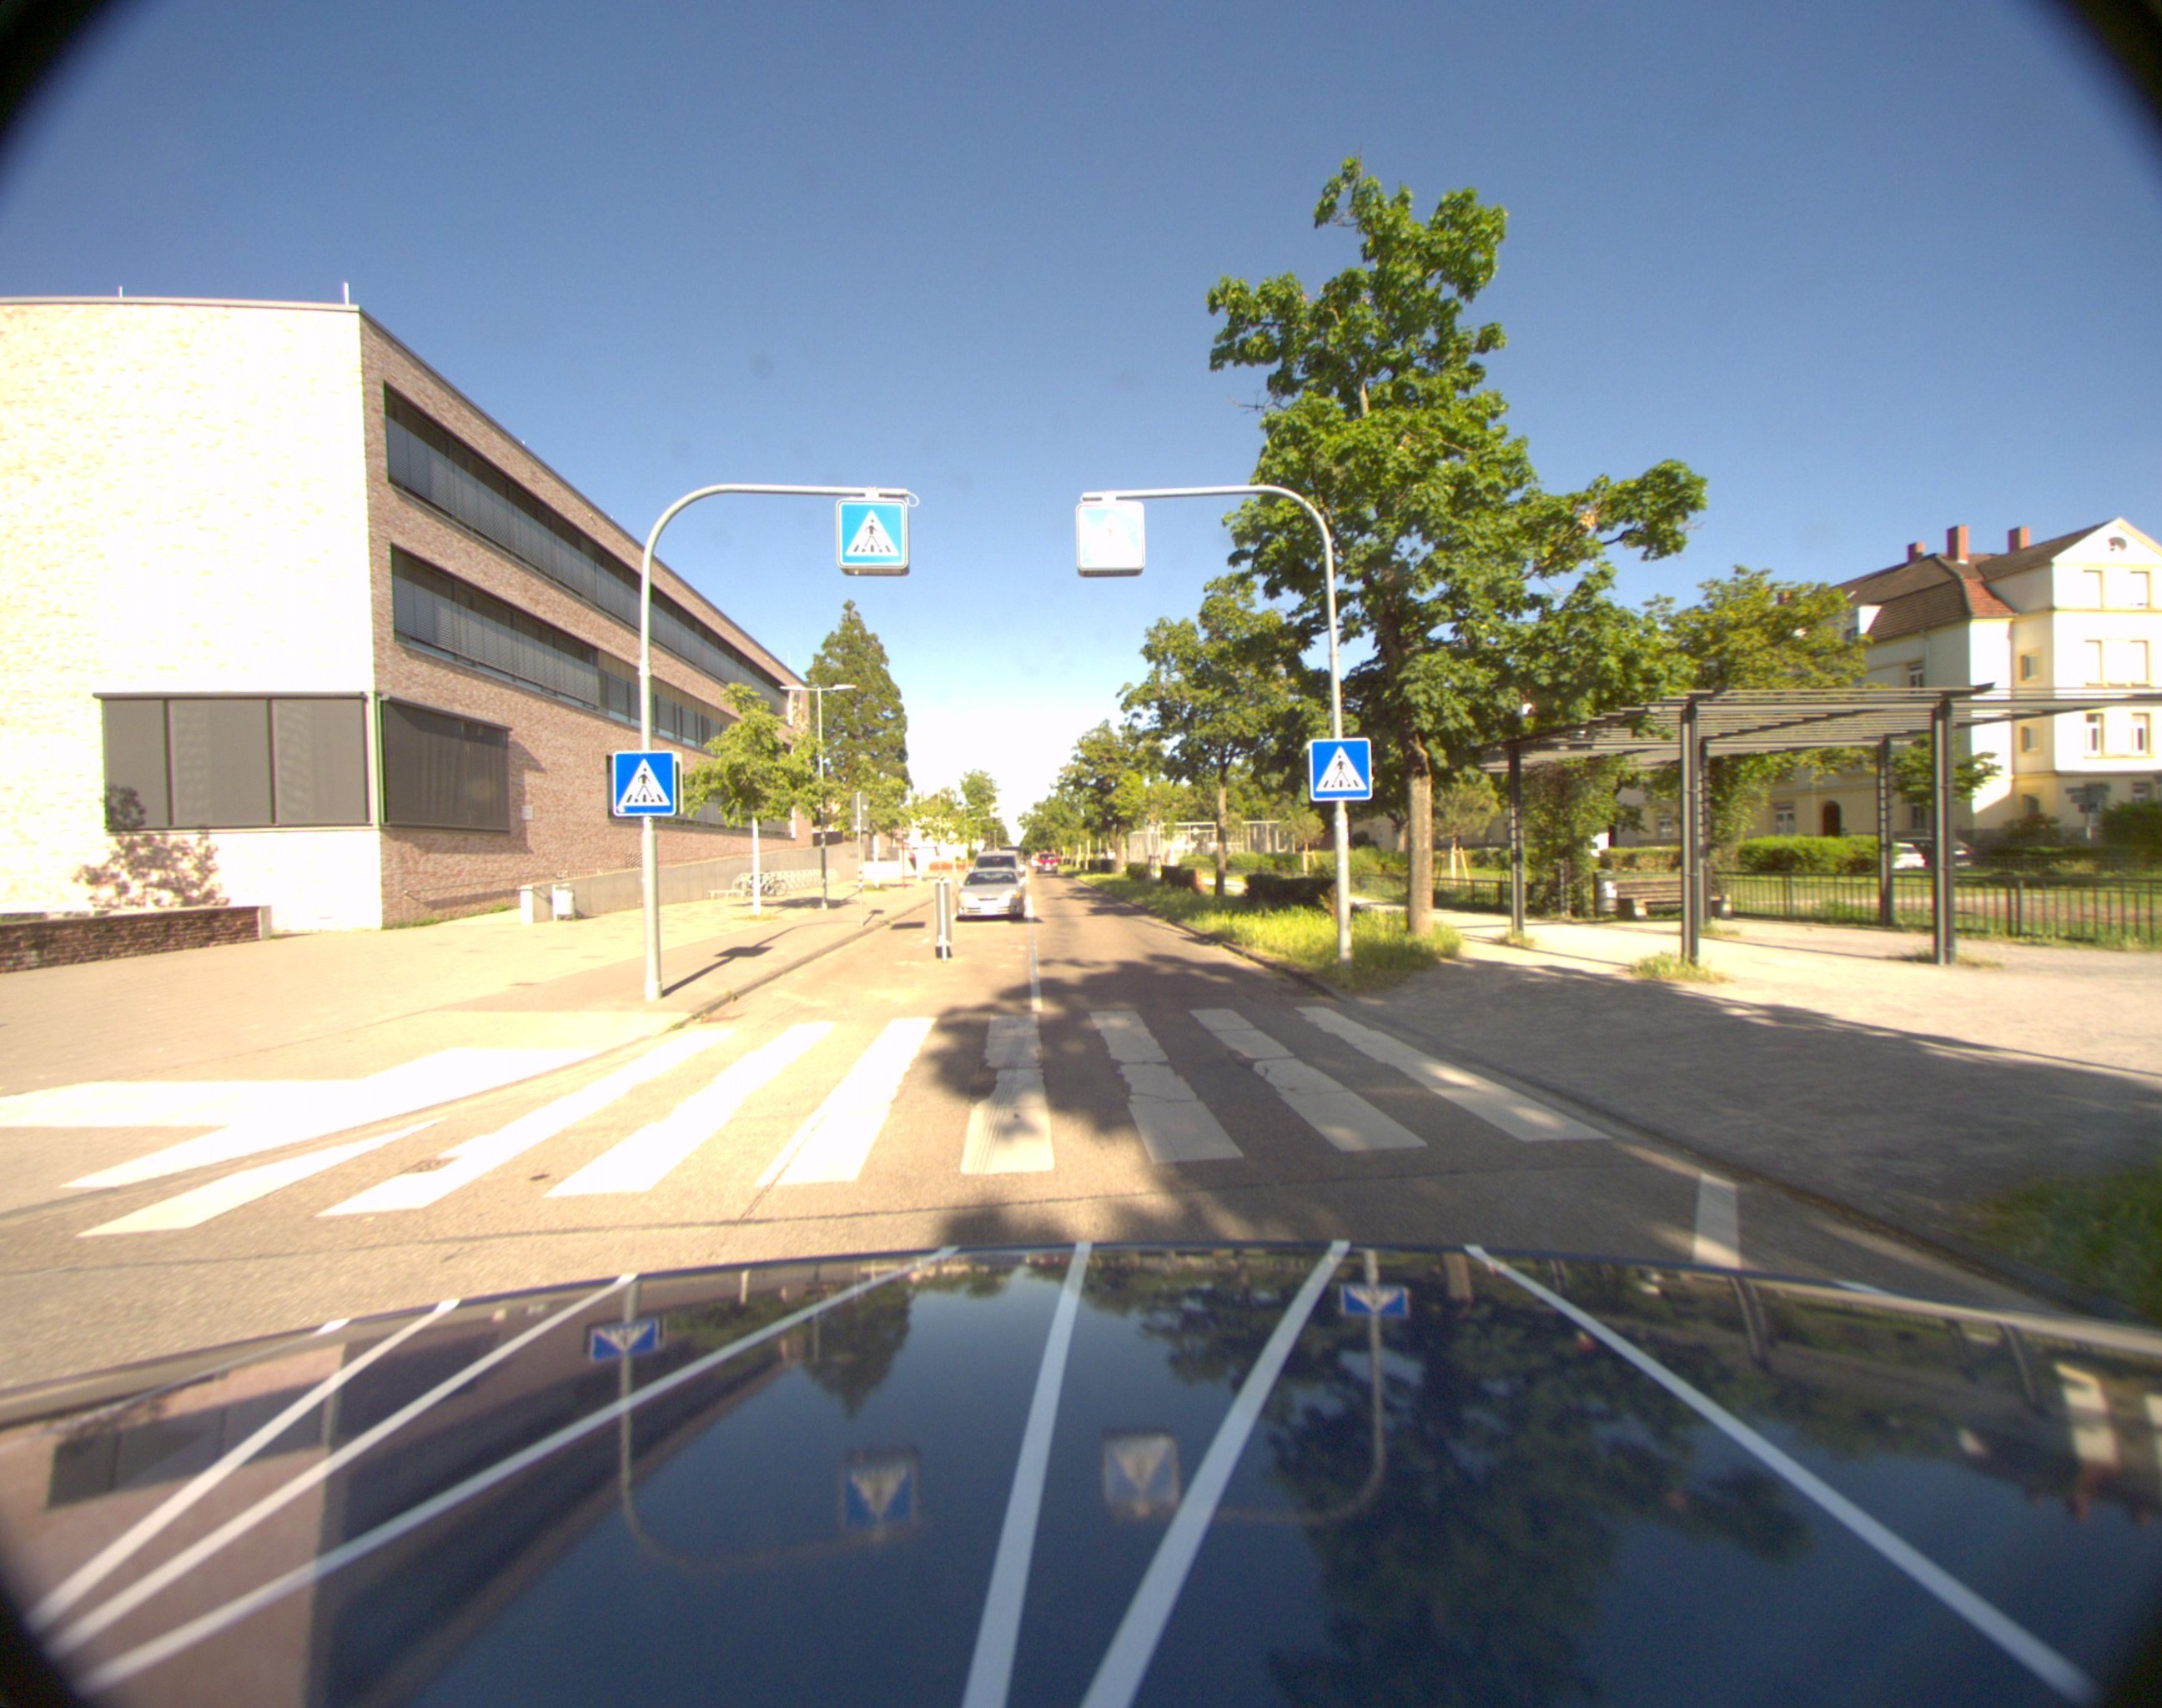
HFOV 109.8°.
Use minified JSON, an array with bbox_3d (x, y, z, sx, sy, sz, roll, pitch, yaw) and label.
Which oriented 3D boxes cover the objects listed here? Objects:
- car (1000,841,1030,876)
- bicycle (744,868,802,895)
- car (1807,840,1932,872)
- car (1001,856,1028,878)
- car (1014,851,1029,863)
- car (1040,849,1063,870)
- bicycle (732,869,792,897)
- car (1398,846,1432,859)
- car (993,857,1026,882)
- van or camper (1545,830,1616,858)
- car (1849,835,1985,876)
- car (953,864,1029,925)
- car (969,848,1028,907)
[{"bbox_3d":[-5.245,0.316,60.760,2.075,2.583,6.200,-2,0,-3],"label":"car"},{"bbox_3d":[-12.954,1.163,32.045,2.085,1.058,0.859,1,1,-4],"label":"bicycle"},{"bbox_3d":[36.346,0.084,35.161,1.752,1.323,3.711,-2,0,-6],"label":"car"},{"bbox_3d":[-4.664,0.904,53.761,1.715,1.412,3.922,-2,0,-3],"label":"car"},{"bbox_3d":[-8.651,0.412,110.664,2.057,1.588,4.752,-2,0,-3],"label":"car"},{"bbox_3d":[-2.772,0.510,71.793,2.022,1.867,4.739,-2,0,-1],"label":"car"},{"bbox_3d":[-12.903,1.158,30.757,2.031,1.057,0.882,1,0,-5],"label":"bicycle"},{"bbox_3d":[35.845,-0.192,81.692,1.691,1.286,3.999,-2,0,-3],"label":"car"},{"bbox_3d":[-4.422,0.929,47.386,1.825,1.412,4.038,-2,0,-3],"label":"car"},{"bbox_3d":[37.890,-0.755,57.789,2.274,2.002,4.372,-2,1,-4],"label":"van or camper"},{"bbox_3d":[39.516,0.079,36.067,1.955,1.783,3.999,-2,0,-3],"label":"car"},{"bbox_3d":[-2.306,1.001,20.492,1.653,1.324,4.932,-2,0,-3],"label":"car"},{"bbox_3d":[-2.884,0.759,27.396,1.789,1.899,4.625,-2,0,-3],"label":"car"}]
